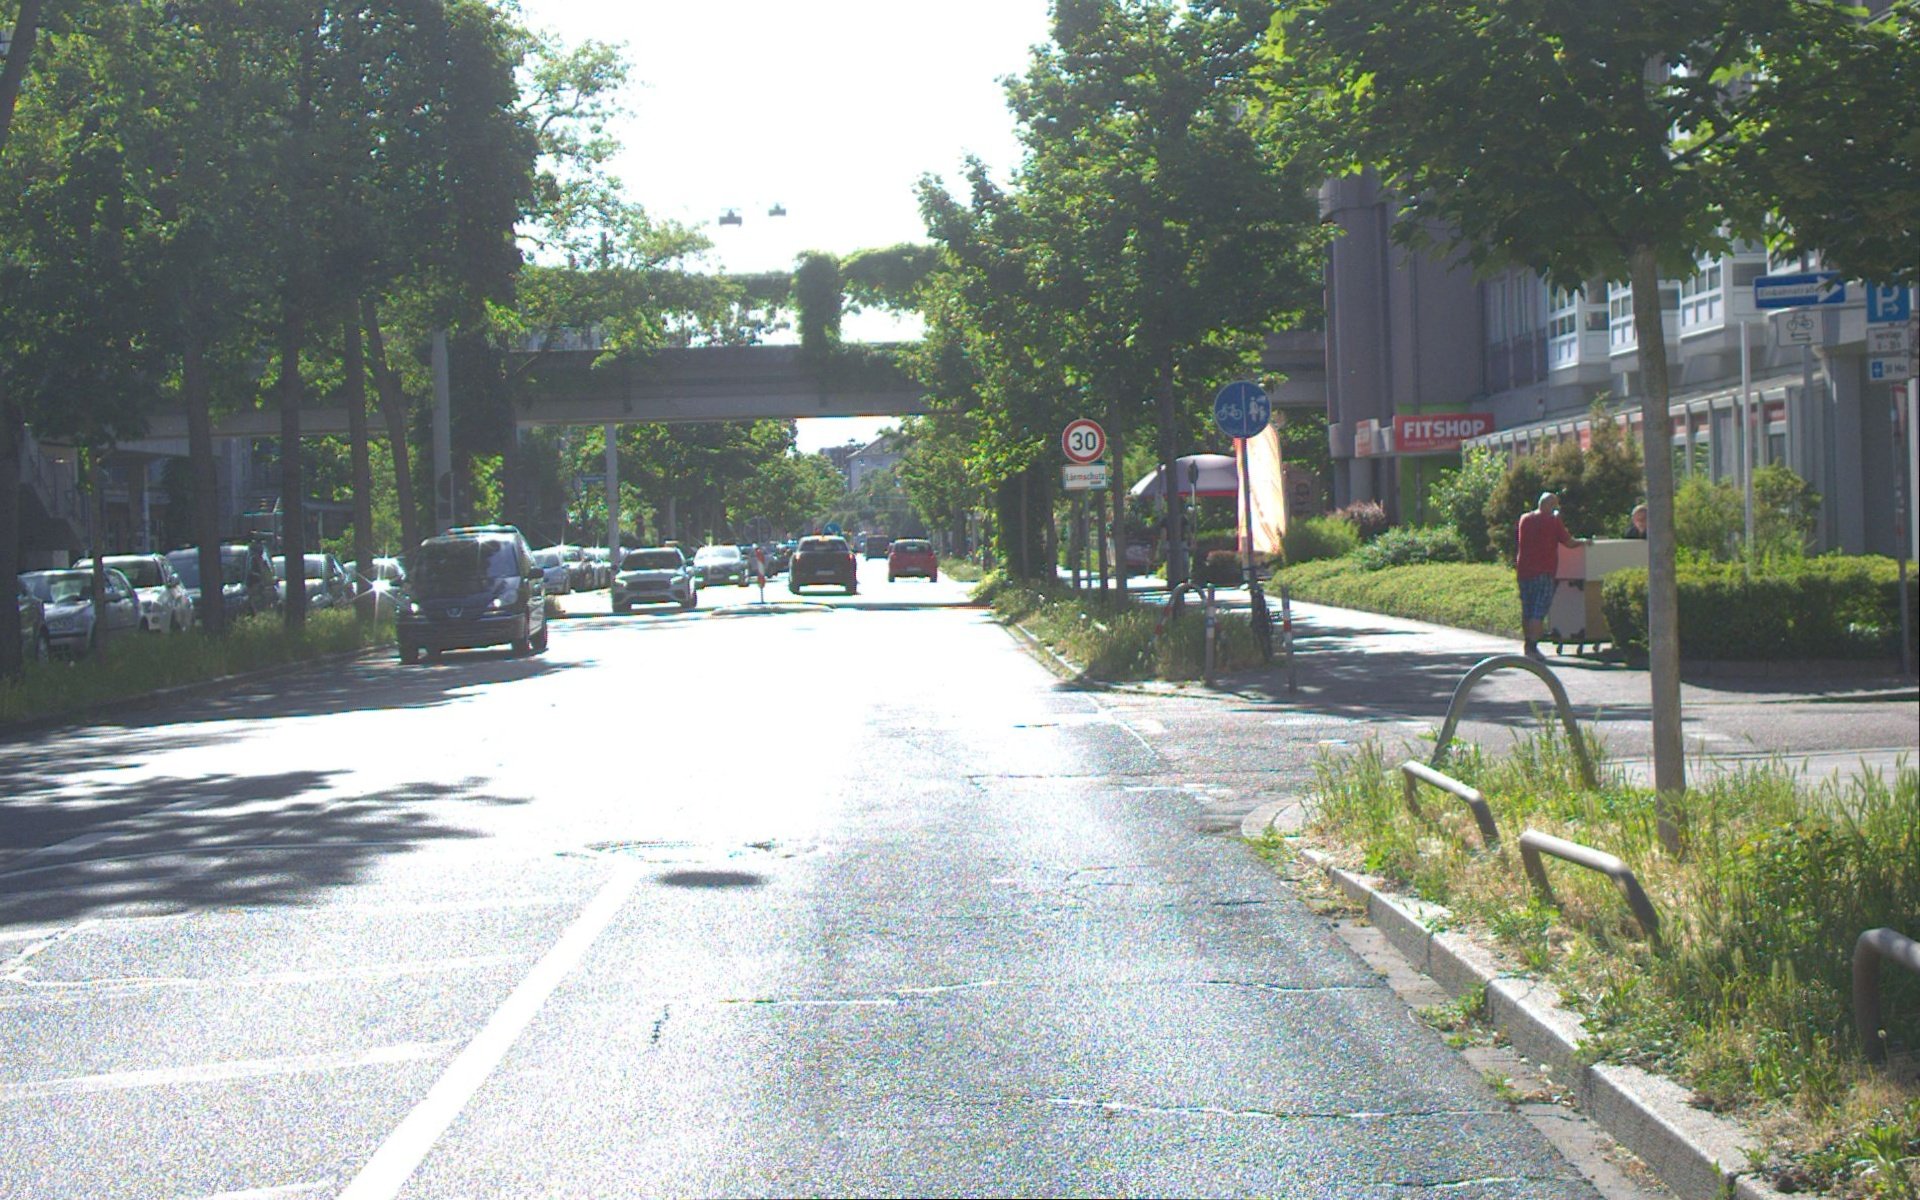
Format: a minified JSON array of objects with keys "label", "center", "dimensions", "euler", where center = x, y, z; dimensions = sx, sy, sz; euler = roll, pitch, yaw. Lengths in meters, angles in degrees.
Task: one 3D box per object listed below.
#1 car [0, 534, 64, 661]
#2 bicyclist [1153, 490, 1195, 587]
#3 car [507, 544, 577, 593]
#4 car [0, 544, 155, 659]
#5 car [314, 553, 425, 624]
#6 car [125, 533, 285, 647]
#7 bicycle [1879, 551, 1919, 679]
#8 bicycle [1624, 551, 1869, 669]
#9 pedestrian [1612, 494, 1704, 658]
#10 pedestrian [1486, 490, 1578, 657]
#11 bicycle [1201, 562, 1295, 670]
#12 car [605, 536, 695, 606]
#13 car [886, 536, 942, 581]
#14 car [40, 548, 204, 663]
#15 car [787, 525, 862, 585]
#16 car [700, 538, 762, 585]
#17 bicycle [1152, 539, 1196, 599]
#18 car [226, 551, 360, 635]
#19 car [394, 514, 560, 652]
[{"label":"car","center":[-12.391,-0.053,41.986],"dimensions":[1.855,1.518,4.319],"euler":[0,1,-1]},{"label":"bicyclist","center":[3.768,-1.073,60.513],"dimensions":[0.667,1.689,0.889],"euler":[0,0,-1]},{"label":"car","center":[-13.314,-1.019,109.586],"dimensions":[1.855,1.518,4.078],"euler":[0,1,-2]},{"label":"car","center":[-12.518,-0.010,47.388],"dimensions":[1.856,1.518,4.063],"euler":[0,1,0]},{"label":"car","center":[-13.024,-0.270,76.004],"dimensions":[1.855,1.518,4.319],"euler":[0,1,-2]},{"label":"car","center":[-12.728,-0.196,58.186],"dimensions":[1.855,1.843,4.562],"euler":[0,1,-2]},{"label":"bicycle","center":[8.863,0.112,31.217],"dimensions":[0.685,1.024,2.203],"euler":[-2,3,7]},{"label":"bicycle","center":[7.621,0.090,33.354],"dimensions":[2.196,1.024,0.687],"euler":[-2,3,1]},{"label":"pedestrian","center":[7.021,-0.236,34.590],"dimensions":[0.653,1.598,0.603],"euler":[-4,0,-6]},{"label":"pedestrian","center":[5.643,-0.259,33.908],"dimensions":[0.653,1.598,0.603],"euler":[-4,0,-6]},{"label":"bicycle","center":[2.978,0.147,35.415],"dimensions":[0.591,1.062,2.021],"euler":[0,1,15]},{"label":"car","center":[-7.506,-0.720,83.590],"dimensions":[1.855,1.563,4.716],"euler":[-2,1,-2]},{"label":"car","center":[-1.596,-1.456,120.236],"dimensions":[1.856,1.518,4.319],"euler":[0,1,0]},{"label":"car","center":[-12.731,0.047,52.442],"dimensions":[1.855,1.678,4.666],"euler":[0,1,-6]},{"label":"car","center":[-3.690,-1.242,93.719],"dimensions":[1.984,1.595,4.141],"euler":[0,1,-2]},{"label":"car","center":[-7.566,-1.282,113.728],"dimensions":[1.855,1.435,4.319],"euler":[-2,1,-2]},{"label":"bicycle","center":[3.754,-0.539,60.505],"dimensions":[0.589,1.024,1.860],"euler":[-1,0,-2]},{"label":"car","center":[-12.822,-0.153,66.246],"dimensions":[1.855,1.563,3.872],"euler":[0,1,0]},{"label":"car","center":[-6.913,-0.273,49.612],"dimensions":[1.855,1.819,4.610],"euler":[-2,1,-2]}]
